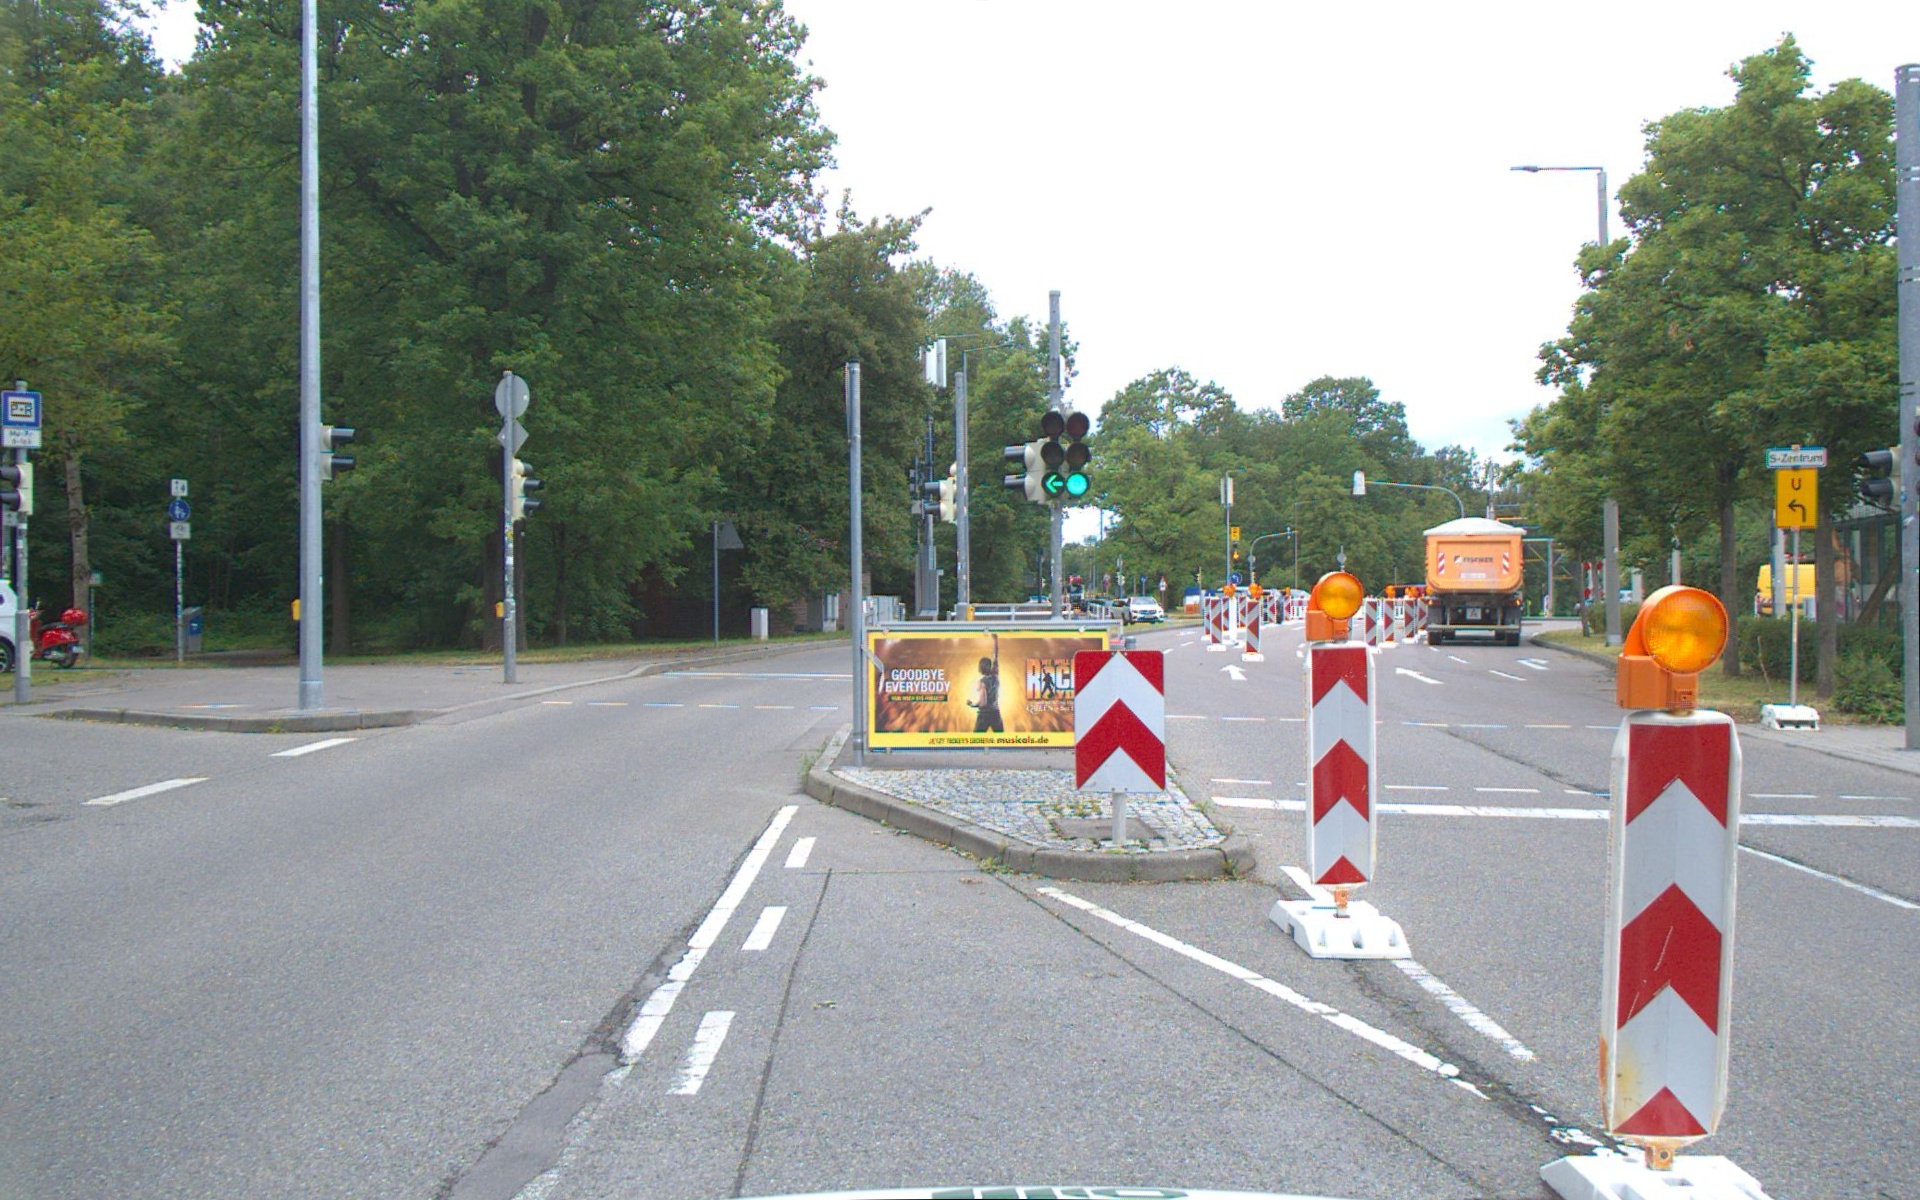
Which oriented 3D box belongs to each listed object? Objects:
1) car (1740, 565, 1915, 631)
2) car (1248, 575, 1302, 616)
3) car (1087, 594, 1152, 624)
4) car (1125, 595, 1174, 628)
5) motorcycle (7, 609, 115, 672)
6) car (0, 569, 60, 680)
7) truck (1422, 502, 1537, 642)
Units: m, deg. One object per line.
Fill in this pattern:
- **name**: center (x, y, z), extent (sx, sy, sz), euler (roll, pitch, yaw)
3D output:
- **car**: center (34.623, -0.082, 66.207), extent (1.975, 2.537, 6.079), euler (1, 0, -32)
- **car**: center (14.072, -0.168, 73.767), extent (1.759, 1.769, 3.703), euler (1, 0, 20)
- **car**: center (10.418, 0.563, 108.363), extent (1.984, 1.915, 3.937), euler (1, 0, -43)
- **car**: center (10.668, 0.624, 92.917), extent (1.951, 1.780, 4.581), euler (1, 0, 17)
- **motorcycle**: center (-17.436, 0.780, 32.089), extent (1.963, 1.181, 0.677), euler (-1, 0, 18)
- **car**: center (-16.505, 0.443, 25.115), extent (2.118, 1.722, 4.527), euler (-2, 0, 30)
- **truck**: center (14.811, -0.776, 46.785), extent (2.799, 3.576, 8.251), euler (-1, 1, 19)
